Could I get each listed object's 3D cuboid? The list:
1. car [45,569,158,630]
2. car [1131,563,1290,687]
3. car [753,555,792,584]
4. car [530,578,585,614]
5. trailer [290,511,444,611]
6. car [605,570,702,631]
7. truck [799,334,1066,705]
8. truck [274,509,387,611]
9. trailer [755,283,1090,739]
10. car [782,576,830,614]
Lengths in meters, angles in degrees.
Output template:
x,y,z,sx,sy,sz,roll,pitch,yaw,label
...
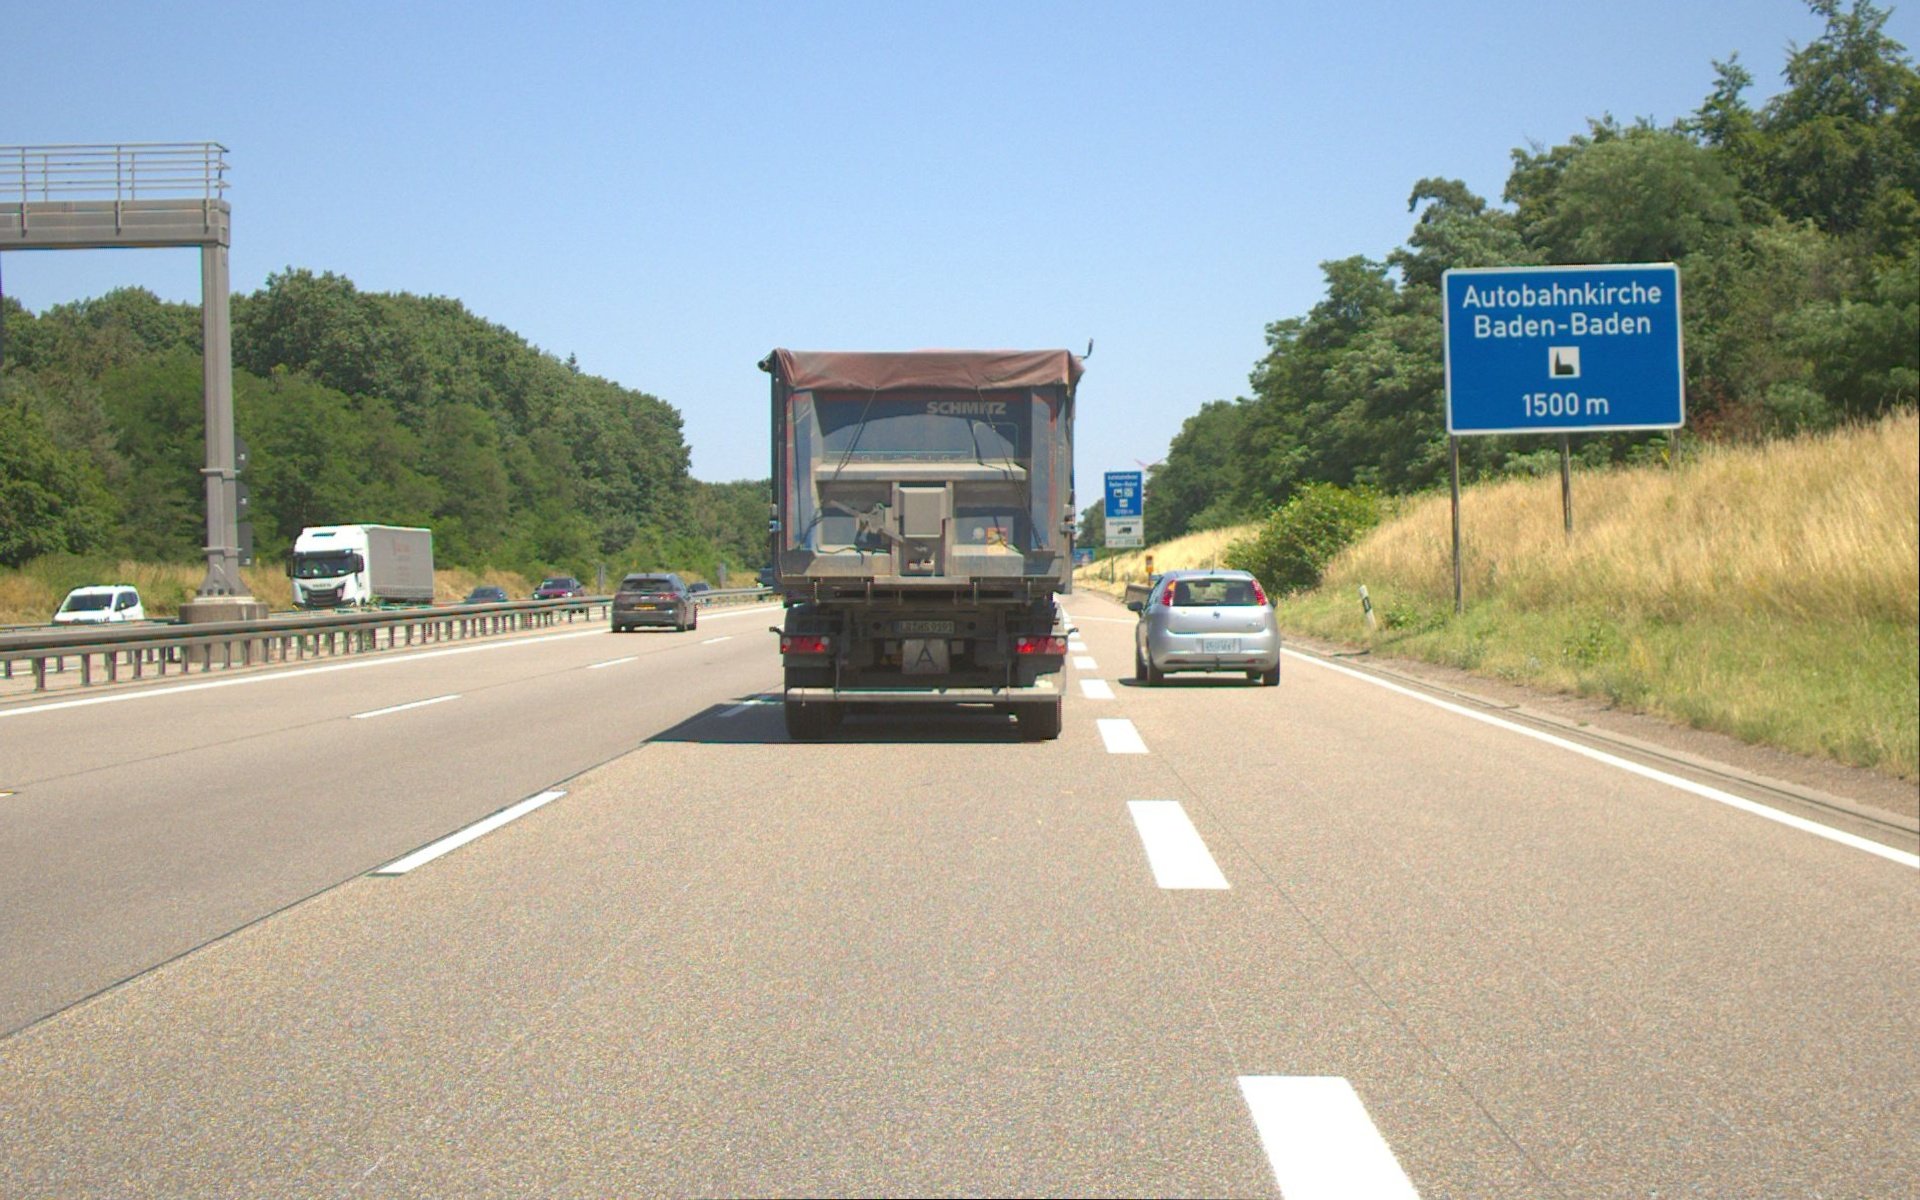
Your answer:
x,y,z,sx,sy,sz,roll,pitch,yaw,label
-25.167,-0.027,100.949,1.993,1.743,4.990,0,0,1,car
3.187,0.290,44.354,1.719,1.486,3.737,0,1,-1,car
-12.977,-2.095,238.209,2.280,1.934,4.942,-1,1,1,car
-18.469,-0.192,157.822,1.846,1.605,4.921,0,0,1,car
-24.328,-1.578,141.917,3.168,3.917,13.962,0,0,3,trailer
-7.528,-0.009,84.846,1.832,1.427,4.999,0,1,1,car
-0.265,-0.861,37.936,2.684,3.746,5.944,-1,1,0,truck
-24.716,-1.568,135.204,3.168,3.917,5.399,0,0,3,truck
-0.285,-0.810,33.007,2.737,3.746,9.109,-1,1,0,trailer
-6.375,-0.212,142.860,1.703,1.469,4.597,-1,1,1,car
